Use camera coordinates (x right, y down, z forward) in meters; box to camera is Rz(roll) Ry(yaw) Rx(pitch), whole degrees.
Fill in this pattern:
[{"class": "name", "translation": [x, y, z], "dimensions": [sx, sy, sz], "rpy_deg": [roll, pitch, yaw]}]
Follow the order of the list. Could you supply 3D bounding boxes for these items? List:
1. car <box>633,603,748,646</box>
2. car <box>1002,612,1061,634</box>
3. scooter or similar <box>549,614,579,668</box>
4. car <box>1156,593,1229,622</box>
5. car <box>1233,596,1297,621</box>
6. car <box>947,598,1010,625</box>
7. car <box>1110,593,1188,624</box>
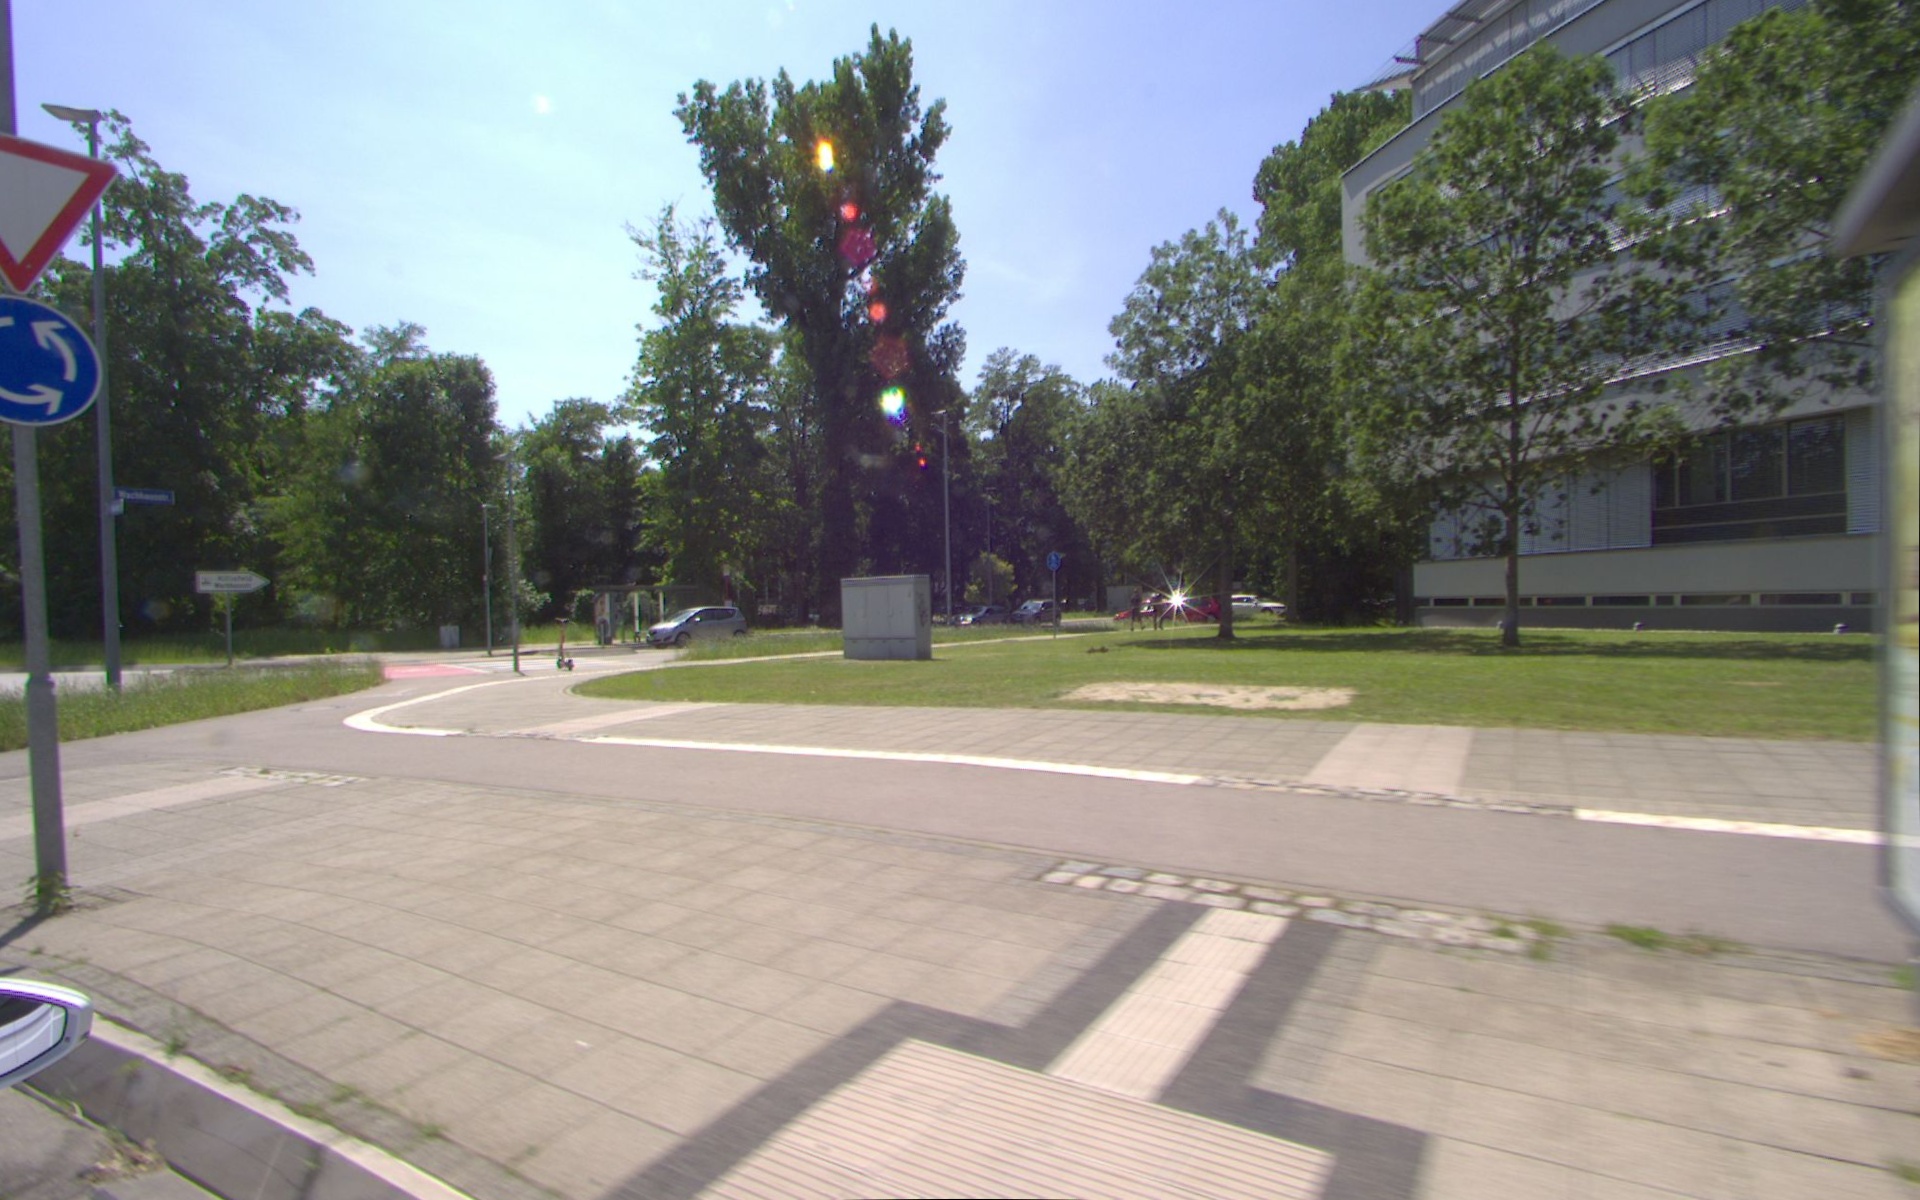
[{"class": "car", "translation": [-10.603, 0.942, 39.624], "dimensions": [1.770, 1.627, 4.094], "rpy_deg": [-2, -1, 41]}, {"class": "car", "translation": [4.581, 1.421, 63.384], "dimensions": [1.974, 1.327, 3.975], "rpy_deg": [-2, -1, 35]}, {"class": "scooter or similar", "translation": [-9.337, 0.959, 23.602], "dimensions": [0.441, 1.217, 1.391], "rpy_deg": [-1, -1, -31]}, {"class": "car", "translation": [13.151, 0.432, 56.712], "dimensions": [3.633, 1.502, 1.859], "rpy_deg": [-2, -1, 32]}, {"class": "car", "translation": [19.594, 0.542, 64.341], "dimensions": [3.633, 1.502, 1.859], "rpy_deg": [-2, -1, 32]}, {"class": "car", "translation": [1.100, 0.655, 58.183], "dimensions": [1.680, 1.506, 3.974], "rpy_deg": [2, 1, 36]}, {"class": "car", "translation": [9.992, 0.469, 52.870], "dimensions": [3.633, 1.502, 1.859], "rpy_deg": [-2, -1, 32]}]
